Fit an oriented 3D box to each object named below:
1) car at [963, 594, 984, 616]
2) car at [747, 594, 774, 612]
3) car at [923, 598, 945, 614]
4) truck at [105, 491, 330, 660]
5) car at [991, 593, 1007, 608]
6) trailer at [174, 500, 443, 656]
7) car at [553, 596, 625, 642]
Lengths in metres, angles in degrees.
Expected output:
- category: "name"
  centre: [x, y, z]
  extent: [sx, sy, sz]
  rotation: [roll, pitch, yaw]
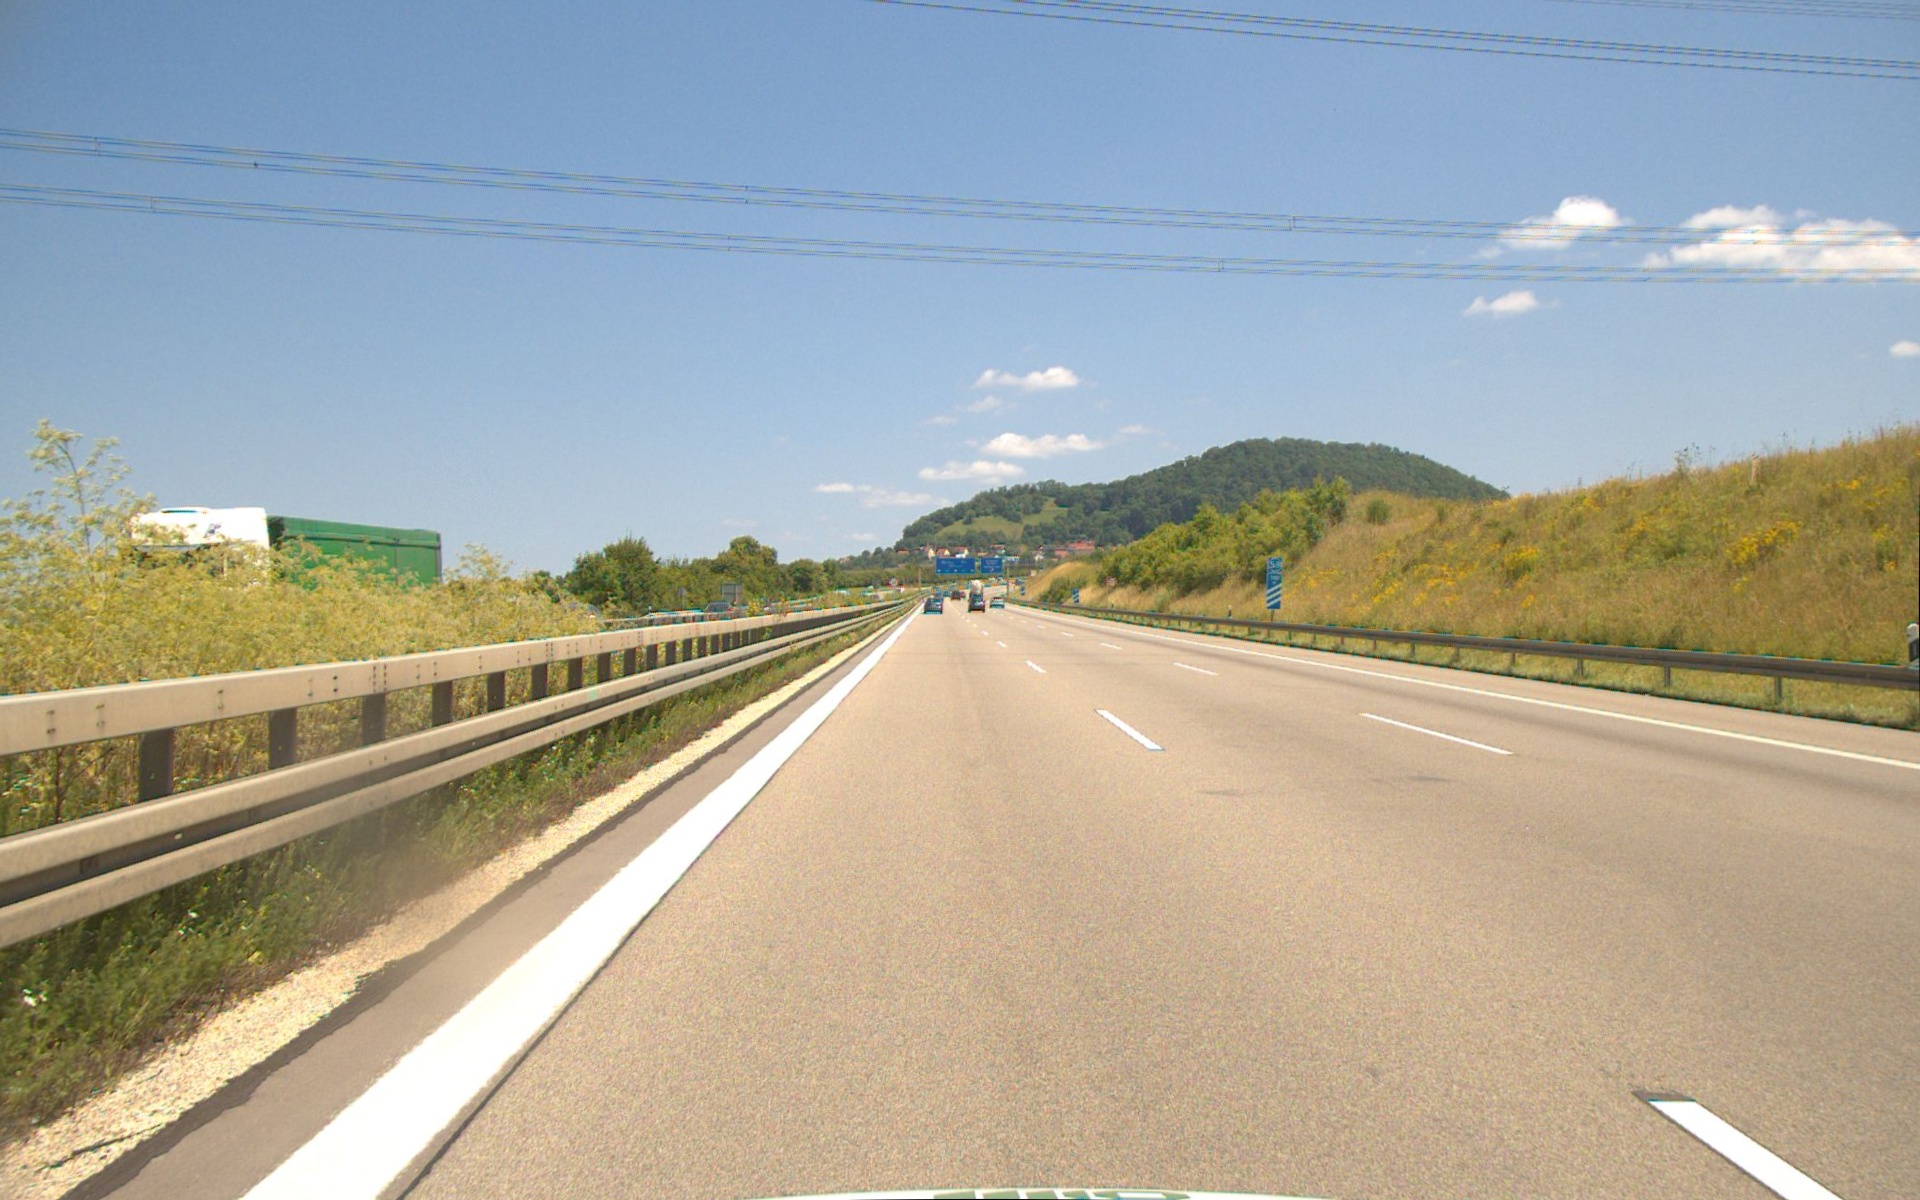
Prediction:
- category: "car"
  centre: [1.257, 0.516, 160.203]
  extent: [1.953, 2.049, 3.999]
  rotation: [1, 0, 0]
- category: "car"
  centre: [-17.653, 0.251, 146.296]
  extent: [1.908, 1.570, 4.285]
  rotation: [1, 0, -1]
- category: "car"
  centre: [-2.285, 0.523, 146.152]
  extent: [1.953, 1.413, 3.999]
  rotation: [1, 0, 0]
- category: "truck"
  centre: [-17.266, -0.519, 38.912]
  extent: [2.668, 3.621, 5.898]
  rotation: [1, 0, -2]
- category: "car"
  centre: [4.928, 0.033, 210.343]
  extent: [1.953, 1.850, 4.000]
  rotation: [-1, 0, 0]
- category: "trailer"
  centre: [-17.453, -0.500, 45.603]
  extent: [2.698, 3.657, 12.532]
  rotation: [1, 0, -2]
- category: "car"
  centre: [-13.151, 0.638, 58.813]
  extent: [1.601, 1.490, 4.000]
  rotation: [-2, 0, 0]
